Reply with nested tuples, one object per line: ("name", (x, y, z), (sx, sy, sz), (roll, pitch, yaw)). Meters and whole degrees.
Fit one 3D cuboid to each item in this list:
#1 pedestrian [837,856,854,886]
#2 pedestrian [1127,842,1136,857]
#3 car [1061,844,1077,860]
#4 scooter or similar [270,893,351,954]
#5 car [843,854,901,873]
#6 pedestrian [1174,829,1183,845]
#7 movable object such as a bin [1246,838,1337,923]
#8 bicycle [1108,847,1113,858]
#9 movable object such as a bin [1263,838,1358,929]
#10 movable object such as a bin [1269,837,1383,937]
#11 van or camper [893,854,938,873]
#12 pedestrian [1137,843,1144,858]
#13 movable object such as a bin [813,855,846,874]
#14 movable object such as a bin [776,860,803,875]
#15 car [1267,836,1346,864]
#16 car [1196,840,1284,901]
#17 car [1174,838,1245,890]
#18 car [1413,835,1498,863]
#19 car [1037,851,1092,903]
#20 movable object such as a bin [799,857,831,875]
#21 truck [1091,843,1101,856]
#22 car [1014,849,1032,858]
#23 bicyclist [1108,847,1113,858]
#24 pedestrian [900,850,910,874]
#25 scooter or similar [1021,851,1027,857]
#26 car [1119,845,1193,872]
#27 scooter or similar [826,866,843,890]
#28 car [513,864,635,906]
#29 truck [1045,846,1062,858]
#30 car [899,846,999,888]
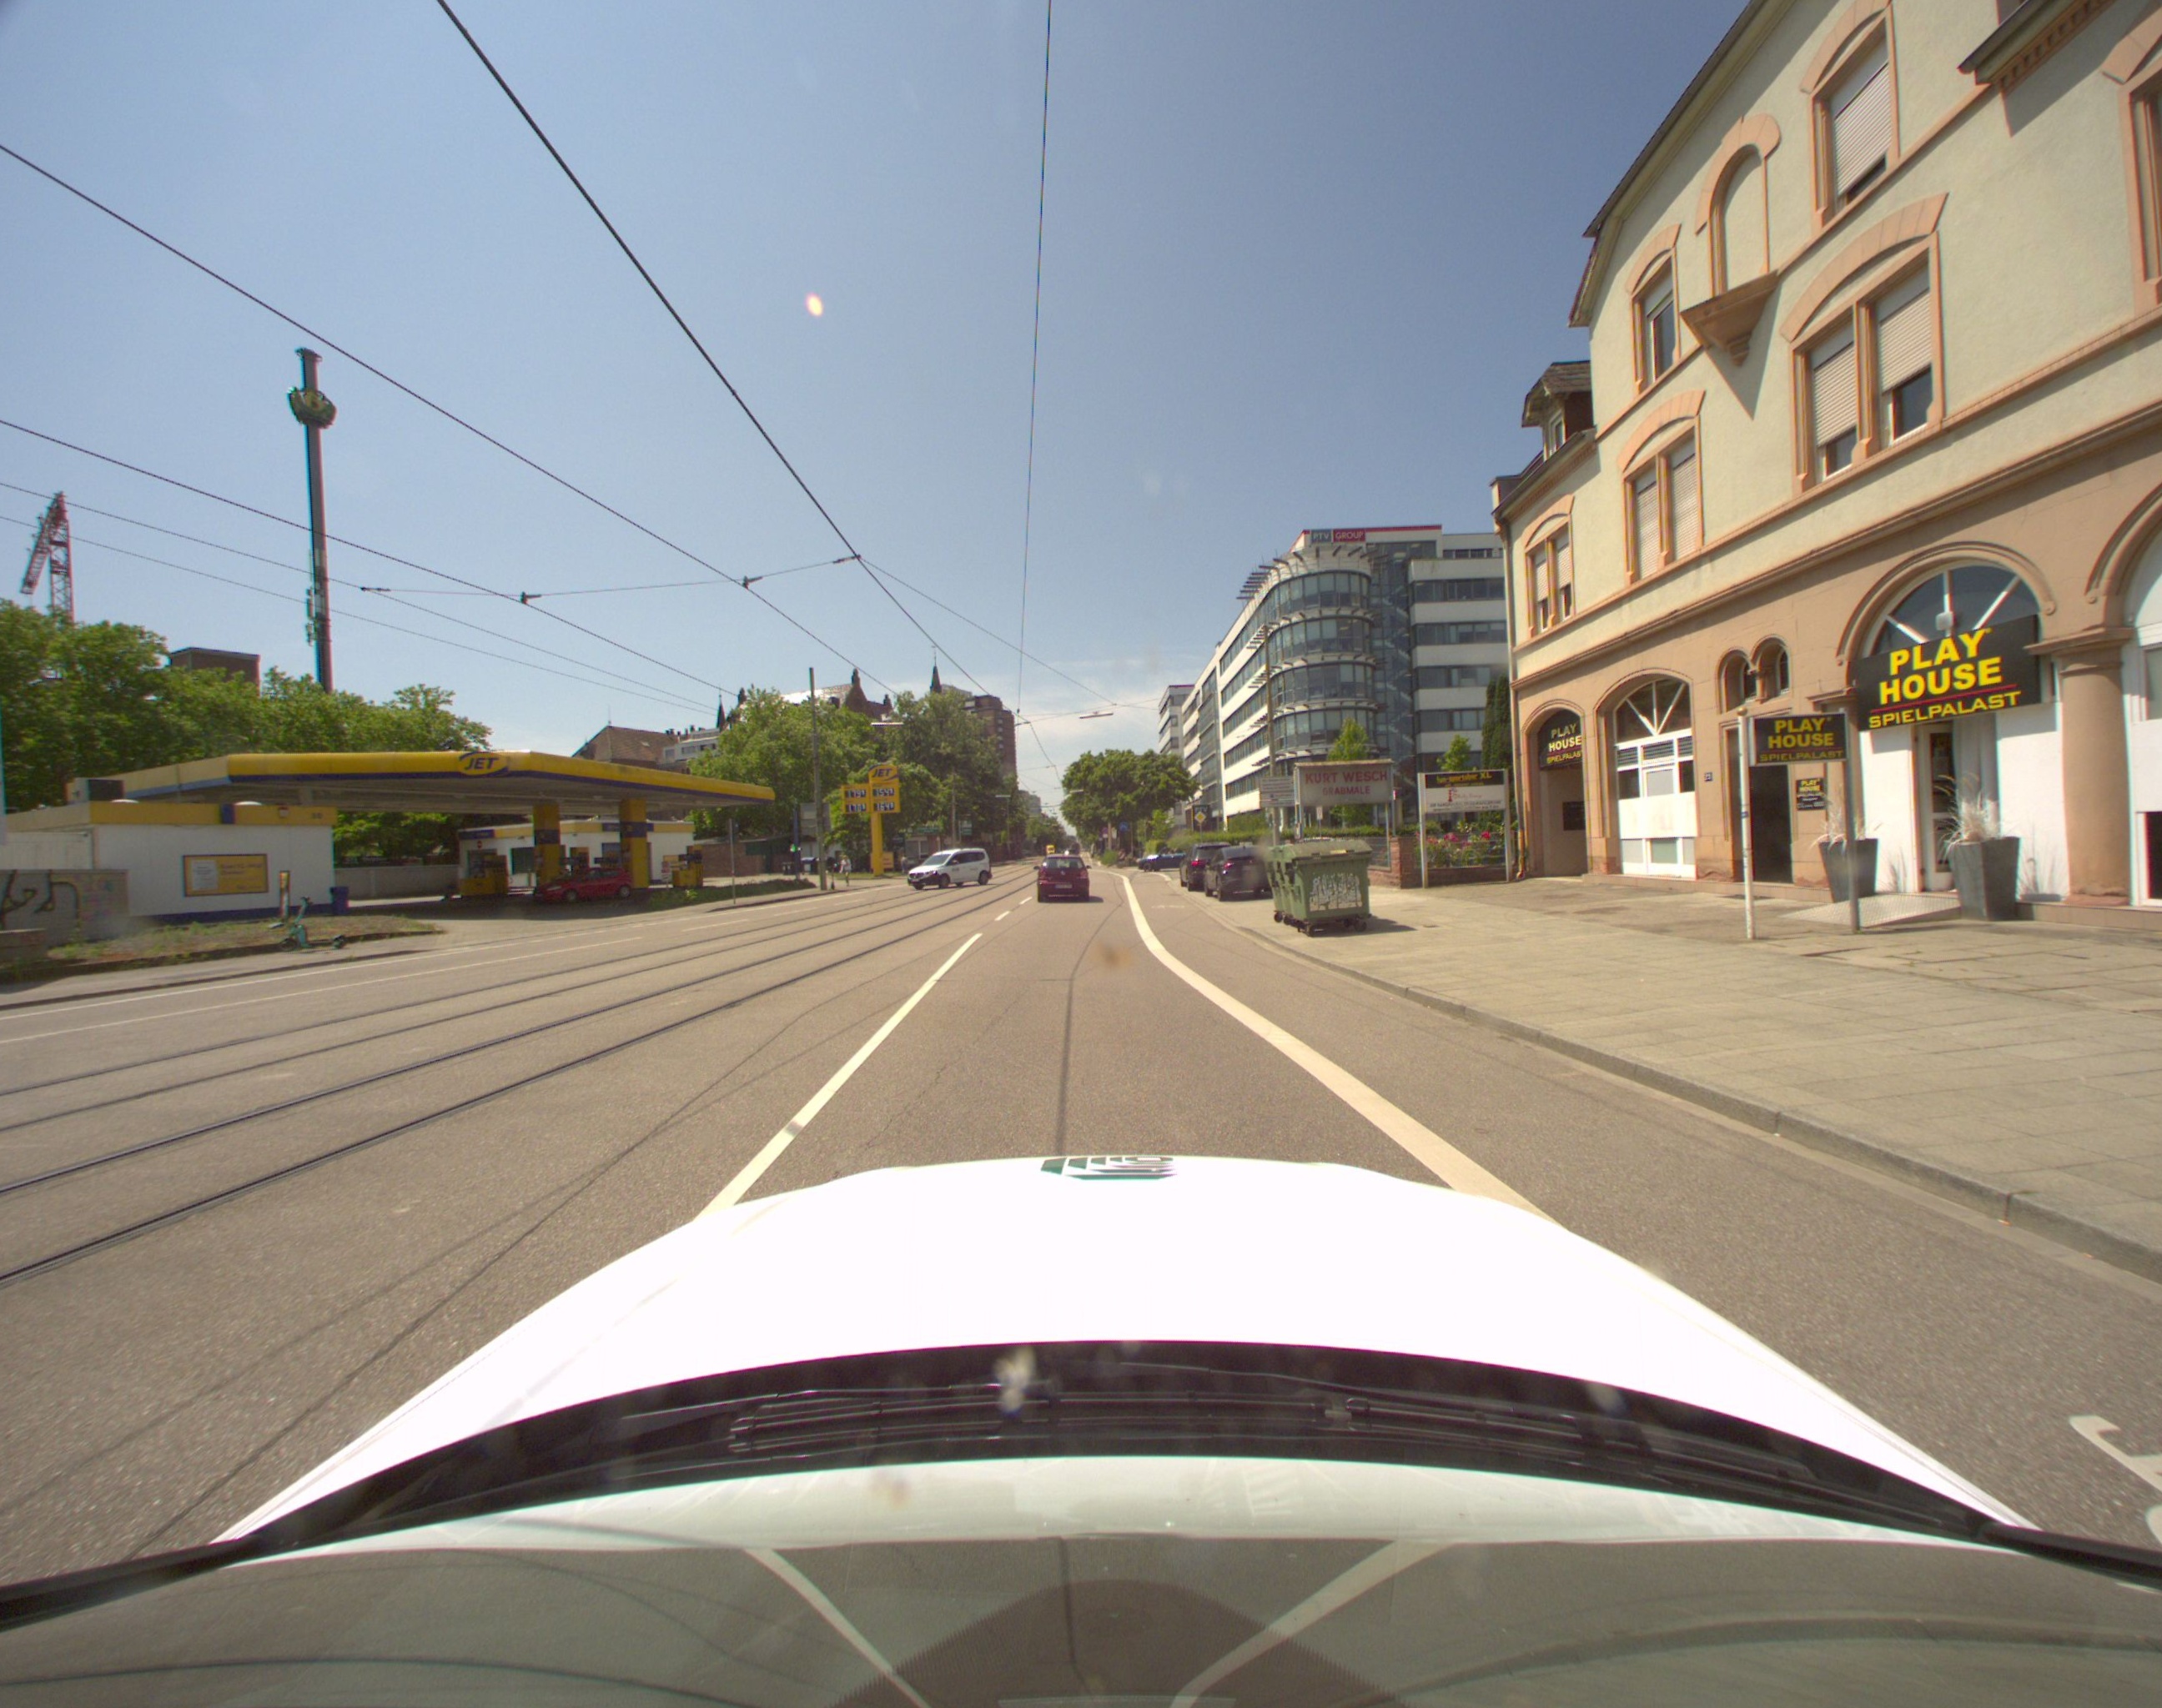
("pedestrian", (-13.400, 0.959, 46.328), (0.622, 1.691, 0.723), (-2, 0, 4))
("pedestrian", (6.144, -0.556, 99.019), (0.682, 1.796, 0.668), (-4, 0, -31))
("car", (-1.587, -0.291, 108.122), (1.988, 2.013, 3.997), (-1, 1, -2))
("scooter or similar", (-17.292, 1.537, 18.304), (0.341, 1.264, 1.249), (-1, 0, 25))
("car", (-17.605, 0.794, 68.777), (1.910, 1.488, 4.479), (-1, 1, 40))
("pedestrian", (10.556, -1.851, 88.105), (0.868, 1.715, 1.092), (-4, 0, 9))
("movable object such as a bin", (3.963, 0.476, 15.457), (1.321, 1.455, 1.057), (-5, 0, -3))
("bicycle", (5.041, -0.301, 139.556), (0.687, 1.785, 1.812), (-4, -1, 3))
("movable object such as a bin", (4.021, 0.495, 14.389), (1.244, 1.455, 1.057), (-5, 0, -3))
("movable object such as a bin", (3.961, 0.507, 13.275), (1.389, 1.455, 1.138), (-5, 0, -3))
("van or camper", (-15.627, 0.859, 77.090), (3.772, 1.629, 1.871), (-1, 1, 0))
("pedestrian", (7.263, -0.400, 98.847), (0.540, 1.715, 0.560), (-4, 0, -29))
("movable object such as a bin", (-20.925, 0.831, 67.806), (1.507, 1.509, 2.112), (-1, 1, 25))
("movable object such as a bin", (-24.657, 1.142, 68.937), (1.391, 1.137, 1.573), (-1, 1, 24))
("car", (13.217, -0.242, 47.906), (4.130, 1.459, 1.820), (-3, 0, 3))
("car", (4.677, 0.454, 24.591), (1.766, 1.548, 4.468), (-4, 0, 1))
("car", (4.771, 0.326, 30.863), (1.917, 1.693, 5.084), (-4, 0, 2))
("car", (21.786, -0.317, 47.483), (4.137, 1.409, 1.767), (-3, 0, -2))
("car", (-0.605, 0.680, 26.329), (1.615, 1.486, 3.995), (-1, 1, -3))
("movable object such as a bin", (-22.358, 0.963, 68.484), (1.507, 1.432, 2.112), (-1, 1, 25))
("truck", (3.075, -1.056, 171.010), (1.987, 2.661, 4.875), (-1, 1, 0))
("car", (-13.787, -0.136, 194.406), (3.969, 2.013, 2.002), (-3, 0, 4))
("bicyclist", (5.036, -0.311, 139.545), (0.693, 1.799, 0.888), (-4, -1, 3))
("pedestrian", (-13.148, 0.618, 60.894), (0.578, 1.775, 0.699), (-1, 0, -3))
("scooter or similar", (-11.683, 0.016, 167.413), (1.092, 1.155, 0.524), (-1, 0, -21))
("car", (4.418, 0.263, 47.965), (3.878, 1.371, 1.713), (-3, 0, 24))
("scooter or similar", (-12.666, 1.221, 41.870), (0.517, 1.200, 1.375), (-1, 0, -2))
("car", (-22.280, 1.318, 35.979), (1.809, 1.504, 4.223), (0, 2, 23))
("truck", (-7.106, -0.602, 212.832), (2.351, 2.787, 7.351), (-3, 0, 16))
("car", (-6.255, 0.595, 38.971), (1.974, 1.799, 4.582), (-2, 1, 36))
